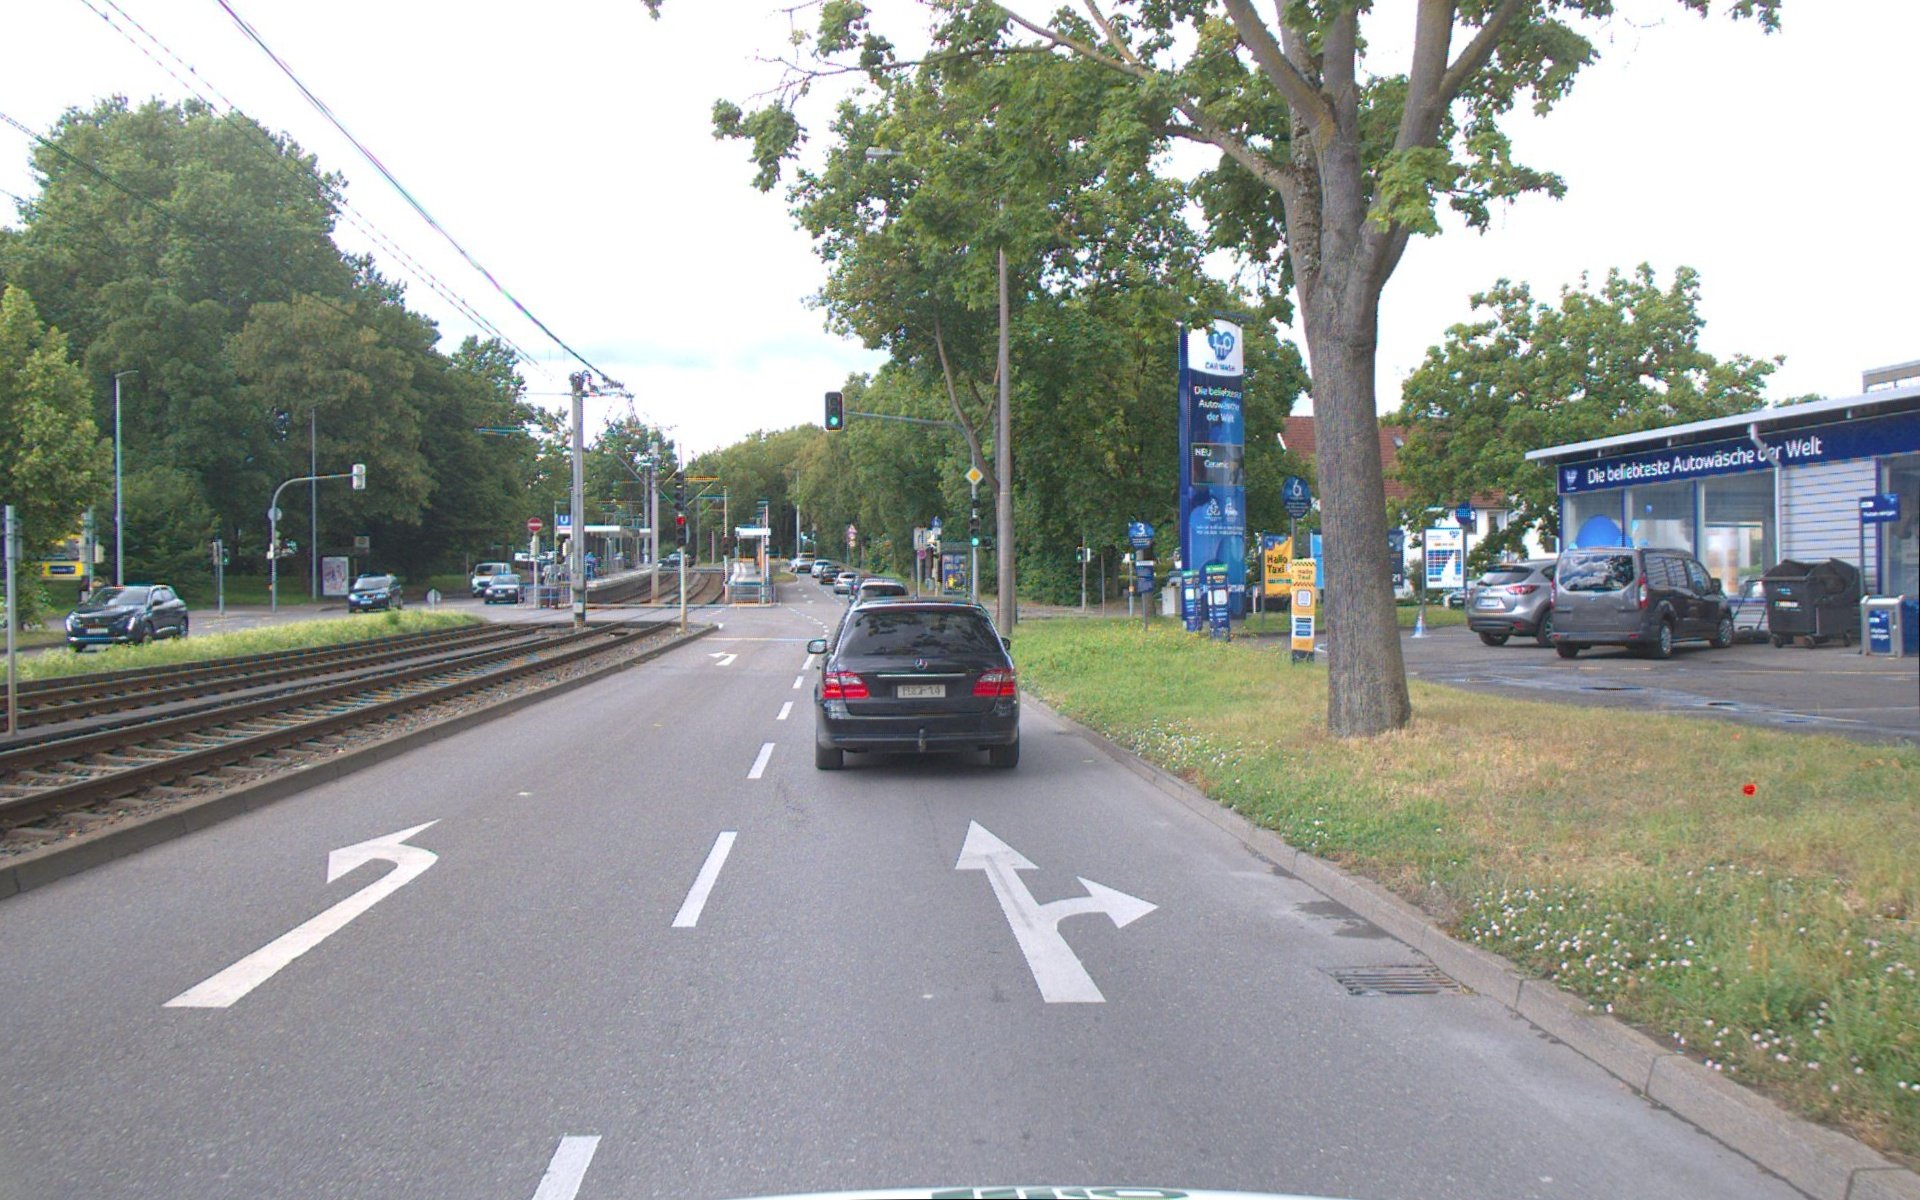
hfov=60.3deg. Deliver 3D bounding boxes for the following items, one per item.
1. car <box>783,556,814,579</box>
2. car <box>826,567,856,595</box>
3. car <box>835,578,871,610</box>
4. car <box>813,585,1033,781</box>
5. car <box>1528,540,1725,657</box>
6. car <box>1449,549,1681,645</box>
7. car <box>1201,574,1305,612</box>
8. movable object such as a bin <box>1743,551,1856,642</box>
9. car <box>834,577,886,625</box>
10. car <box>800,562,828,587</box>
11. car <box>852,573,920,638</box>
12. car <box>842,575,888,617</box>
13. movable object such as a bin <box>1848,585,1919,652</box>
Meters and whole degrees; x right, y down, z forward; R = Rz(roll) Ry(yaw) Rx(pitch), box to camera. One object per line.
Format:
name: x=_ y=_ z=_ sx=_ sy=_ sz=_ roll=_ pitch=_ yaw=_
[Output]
car: x=-15.195 y=-3.060 z=155.763 sx=1.964 sy=2.049 sz=3.977 roll=2 pitch=0 yaw=-20
car: x=-9.009 y=-1.409 z=124.547 sx=1.956 sy=2.001 sz=3.993 roll=2 pitch=0 yaw=-8
car: x=-6.712 y=-0.378 z=103.556 sx=1.956 sy=1.926 sz=3.993 roll=2 pitch=0 yaw=-8
car: x=-0.464 y=0.645 z=15.182 sx=1.747 sy=1.552 sz=3.996 roll=0 pitch=0 yaw=-5
car: x=11.504 y=-0.062 z=28.395 sx=1.721 sy=1.853 sz=4.357 roll=-1 pitch=1 yaw=42
car: x=11.844 y=-0.097 z=32.401 sx=4.141 sy=1.727 sz=1.828 roll=-1 pitch=1 yaw=-22
car: x=12.310 y=-0.286 z=69.631 sx=4.066 sy=1.552 sz=1.705 roll=0 pitch=0 yaw=1
movable object such as a bin: x=14.426 y=-0.067 z=28.451 sx=1.136 sy=1.500 sz=1.385 roll=-1 pitch=0 yaw=-8
car: x=-3.674 y=0.024 z=61.243 sx=1.746 sy=1.677 sz=3.999 roll=2 pitch=0 yaw=-2
car: x=-12.503 y=-2.173 z=141.466 sx=1.958 sy=2.049 sz=3.989 roll=2 pitch=0 yaw=-12
car: x=-2.011 y=0.138 z=45.943 sx=1.746 sy=1.677 sz=3.999 roll=2 pitch=0 yaw=-2
car: x=-4.742 y=-0.215 z=82.158 sx=1.956 sy=1.951 sz=3.993 roll=2 pitch=0 yaw=-8
movable object such as a bin: x=14.531 y=0.272 z=25.352 sx=1.136 sy=0.993 sz=1.186 roll=-1 pitch=0 yaw=-8
